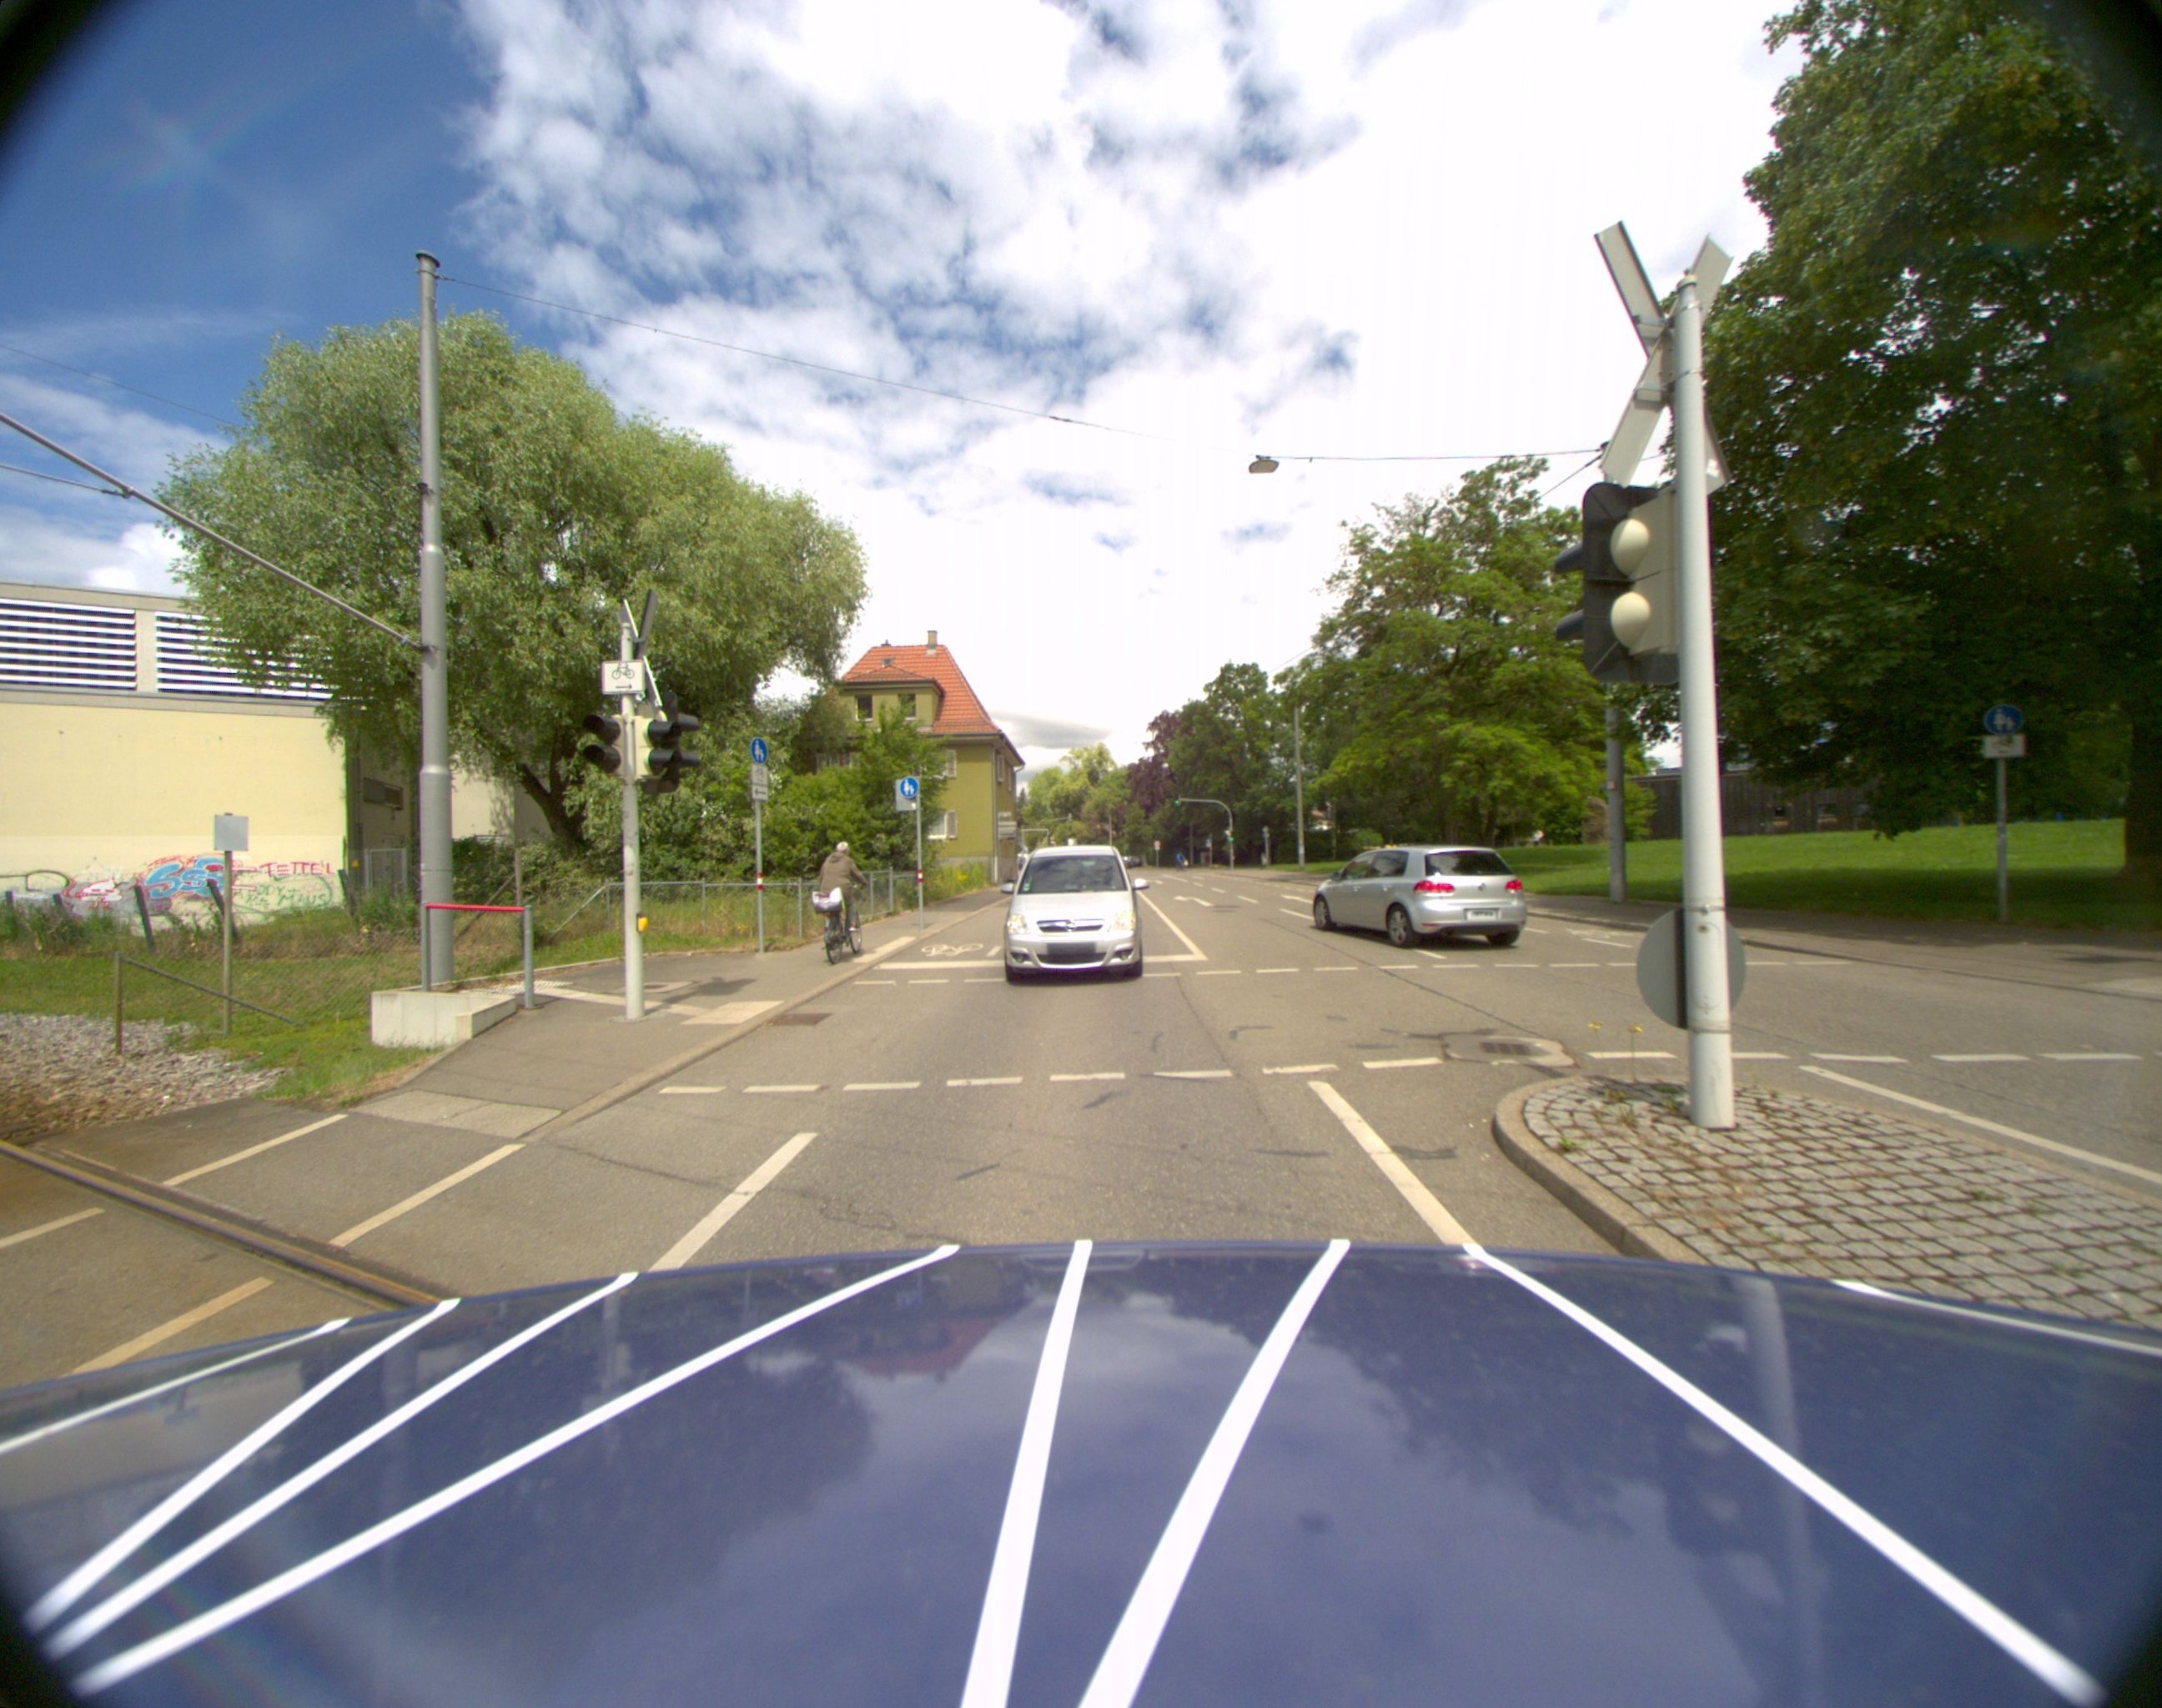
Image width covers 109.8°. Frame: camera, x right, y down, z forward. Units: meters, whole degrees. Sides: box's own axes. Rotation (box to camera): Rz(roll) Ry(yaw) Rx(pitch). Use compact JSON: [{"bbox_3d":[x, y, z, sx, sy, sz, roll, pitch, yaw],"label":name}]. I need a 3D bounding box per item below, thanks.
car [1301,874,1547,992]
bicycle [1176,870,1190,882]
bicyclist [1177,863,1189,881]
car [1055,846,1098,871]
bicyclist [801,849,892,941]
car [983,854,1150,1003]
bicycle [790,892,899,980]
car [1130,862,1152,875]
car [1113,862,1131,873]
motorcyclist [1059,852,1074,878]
[{"bbox_3d":[5.105,1.084,12.000,1.693,1.449,4.067,-1,-1,-6],"label":"car"},{"bbox_3d":[9.209,1.982,68.845,0.814,1.101,1.799,-3,0,-7],"label":"bicycle"},{"bbox_3d":[9.204,1.653,68.788,0.807,1.599,0.771,-3,0,-7],"label":"bicyclist"},{"bbox_3d":[-0.413,0.372,62.857,2.002,1.983,4.362,0,0,-24],"label":"car"},{"bbox_3d":[-3.382,0.565,11.053,0.934,1.240,1.102,1,1,2],"label":"bicyclist"},{"bbox_3d":[-0.080,0.822,10.321,1.780,1.519,4.000,-2,1,2],"label":"car"},{"bbox_3d":[-3.388,1.138,11.091,0.934,1.034,1.915,1,1,2],"label":"bicycle"},{"bbox_3d":[7.106,1.683,90.500,1.900,1.501,3.998,0,-1,-6],"label":"car"},{"bbox_3d":[5.375,1.776,100.054,1.900,1.501,3.998,0,-1,-6],"label":"car"},{"bbox_3d":[-0.874,0.687,46.089,0.837,1.547,0.650,1,0,0],"label":"motorcyclist"}]
